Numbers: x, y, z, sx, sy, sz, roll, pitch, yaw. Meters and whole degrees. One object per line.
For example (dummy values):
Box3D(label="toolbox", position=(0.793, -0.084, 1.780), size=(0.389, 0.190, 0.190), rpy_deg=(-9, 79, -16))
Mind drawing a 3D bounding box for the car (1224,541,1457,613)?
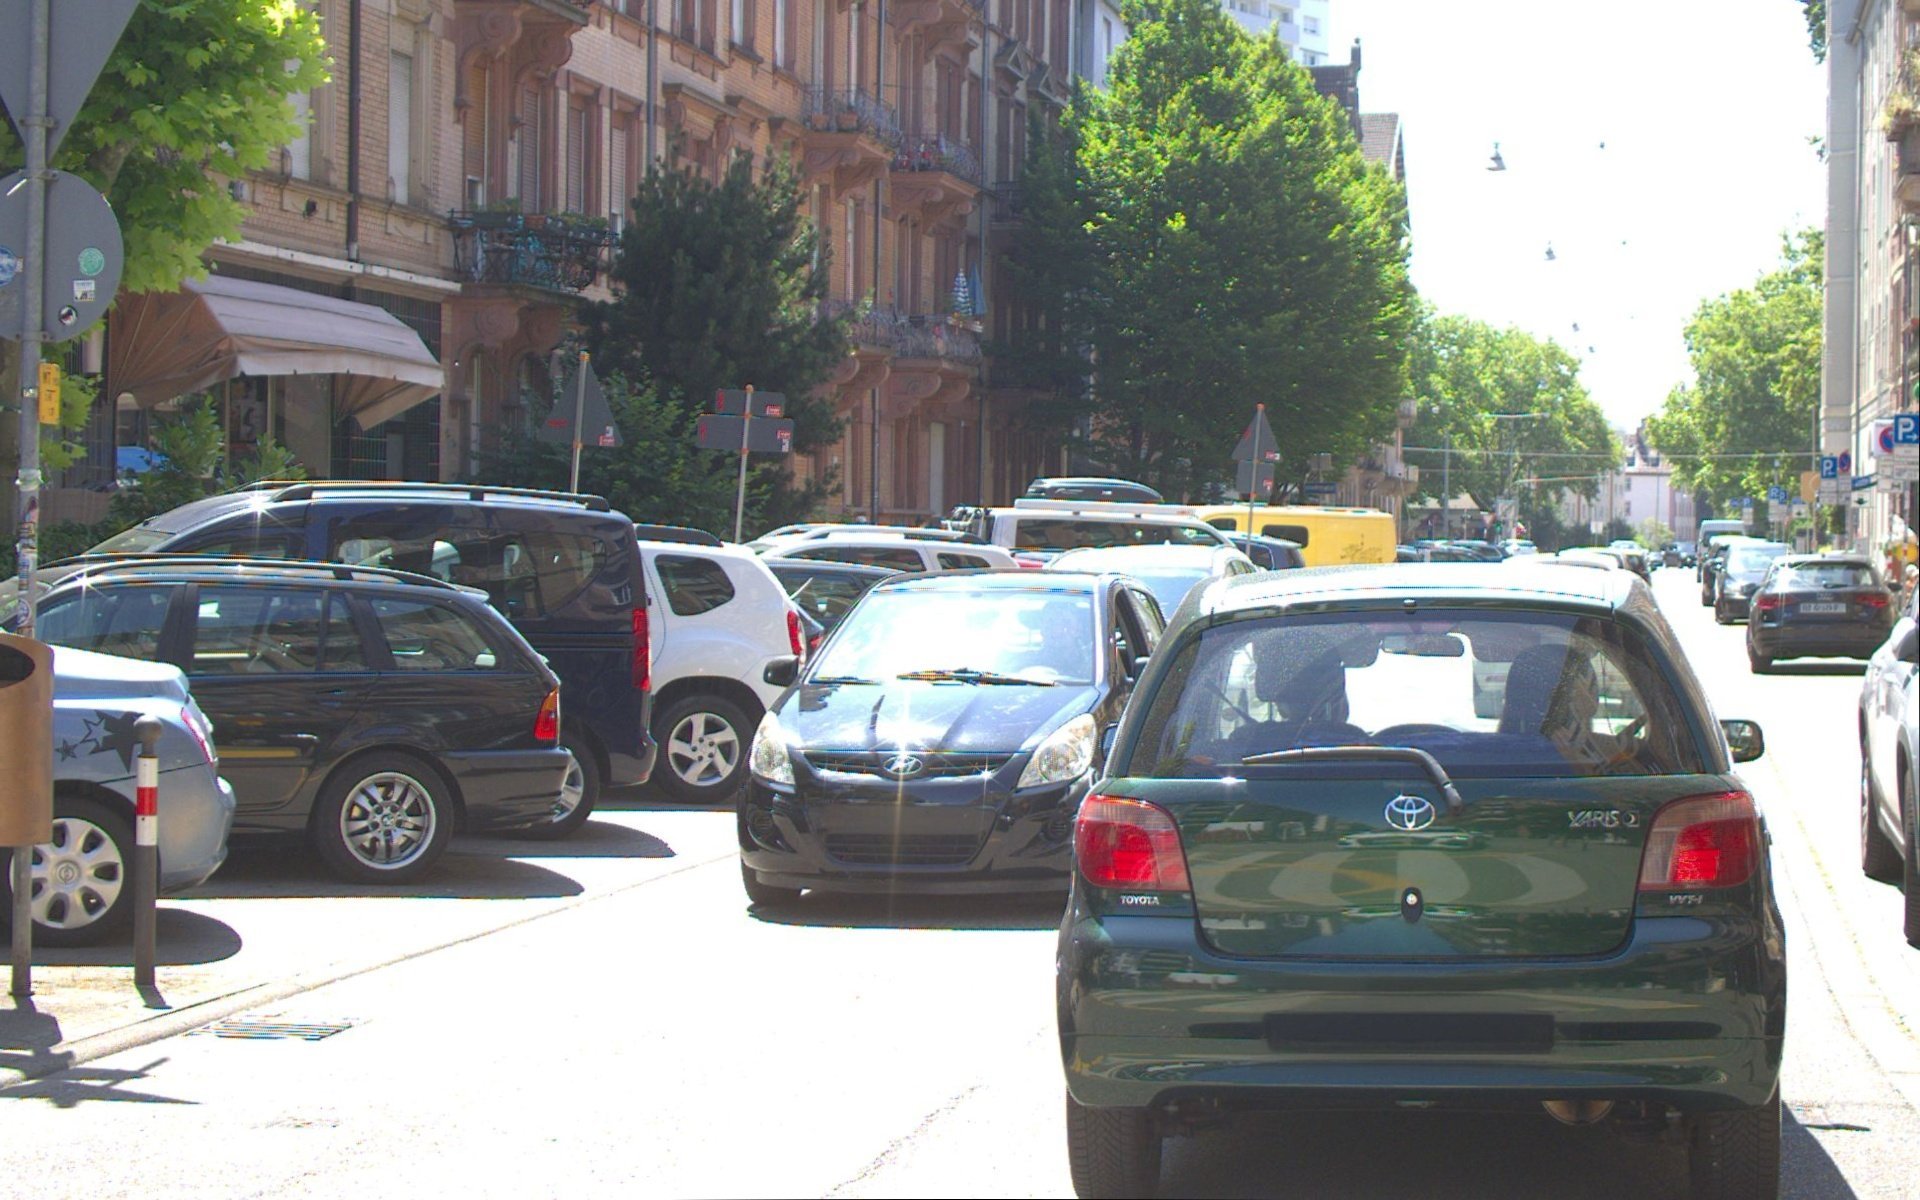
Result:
Box3D(label="car", position=(8.194, -0.501, 74.212), size=(4.556, 1.429, 2.001), rpy_deg=(1, 1, -15))

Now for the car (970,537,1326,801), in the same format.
Box3D(label="car", position=(1.418, 0.422, 24.099), size=(1.755, 1.639, 4.375), rpy_deg=(-2, 0, 12))

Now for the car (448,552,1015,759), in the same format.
Box3D(label="car", position=(-1.754, 0.406, 26.437), size=(3.909, 1.465, 1.866), rpy_deg=(1, 1, -27))

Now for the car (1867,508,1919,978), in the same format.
Box3D(label="car", position=(4.867, 0.484, 14.472), size=(1.872, 1.707, 4.501), rpy_deg=(0, 1, 13))

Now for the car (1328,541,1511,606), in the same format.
Box3D(label="car", position=(12.844, -0.750, 96.149), size=(4.605, 1.720, 2.001), rpy_deg=(1, 1, -15))

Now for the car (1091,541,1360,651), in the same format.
Box3D(label="car", position=(4.170, -0.070, 54.187), size=(3.861, 1.634, 1.786), rpy_deg=(1, 1, -11))

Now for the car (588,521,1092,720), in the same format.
Box3D(label="car", position=(-1.029, 0.165, 29.764), size=(3.909, 1.613, 1.866), rpy_deg=(1, 1, -28))

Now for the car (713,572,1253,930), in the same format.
Box3D(label="car", position=(0.246, 0.604, 16.263), size=(1.755, 1.439, 3.998), rpy_deg=(1, 1, 12))

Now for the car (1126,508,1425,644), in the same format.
Box3D(label="car", position=(5.295, -0.408, 57.934), size=(4.556, 2.180, 2.001), rpy_deg=(1, 1, -15))

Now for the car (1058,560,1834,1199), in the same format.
Box3D(label="car", position=(1.202, 0.653, 8.911), size=(1.614, 1.480, 3.240), rpy_deg=(-1, 0, 6))

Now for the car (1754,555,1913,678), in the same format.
Box3D(label="car", position=(10.699, 0.169, 42.296), size=(1.755, 1.424, 3.998), rpy_deg=(1, 1, 12))

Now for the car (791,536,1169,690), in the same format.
Box3D(label="car", position=(0.197, 0.138, 38.532), size=(3.909, 1.613, 1.866), rpy_deg=(1, 1, -11))

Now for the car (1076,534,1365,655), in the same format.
Box3D(label="car", position=(3.867, -0.093, 51.367), size=(3.909, 1.702, 1.866), rpy_deg=(1, 1, -11))

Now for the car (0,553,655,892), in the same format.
Box3D(label="car", position=(-3.646, 0.539, 16.149), size=(3.986, 1.407, 1.972), rpy_deg=(2, 1, -20))

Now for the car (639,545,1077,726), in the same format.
Box3D(label="car", position=(-1.015, 0.328, 32.961), size=(3.909, 1.613, 1.866), rpy_deg=(1, 1, -11))

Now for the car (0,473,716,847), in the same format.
Box3D(label="car", position=(-3.487, 0.299, 18.399), size=(3.985, 1.798, 1.770), rpy_deg=(2, 1, -17))

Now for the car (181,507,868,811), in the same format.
Box3D(label="car", position=(-2.713, 0.344, 21.279), size=(3.986, 1.652, 1.760), rpy_deg=(2, 1, -11))

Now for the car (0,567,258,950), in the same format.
Box3D(label="car", position=(-4.890, 0.538, 13.461), size=(3.985, 1.371, 2.001), rpy_deg=(2, 1, -17))

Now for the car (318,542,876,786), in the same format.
Box3D(label="car", position=(-2.507, 0.419, 23.530), size=(3.618, 1.453, 1.625), rpy_deg=(2, 1, -9))

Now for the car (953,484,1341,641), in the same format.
Box3D(label="car", position=(2.500, -0.508, 46.364), size=(4.772, 1.987, 2.054), rpy_deg=(1, 1, -16))

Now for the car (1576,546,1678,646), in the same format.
Box3D(label="car", position=(11.222, -0.100, 57.715), size=(1.523, 1.587, 3.262), rpy_deg=(1, 1, 13))

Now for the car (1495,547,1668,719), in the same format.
Box3D(label="car", position=(5.973, 0.269, 32.852), size=(1.523, 1.516, 3.262), rpy_deg=(1, 1, 12))

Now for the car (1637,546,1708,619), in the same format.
Box3D(label="car", position=(16.435, -0.424, 79.432), size=(1.523, 1.587, 3.262), rpy_deg=(1, 1, 11))
